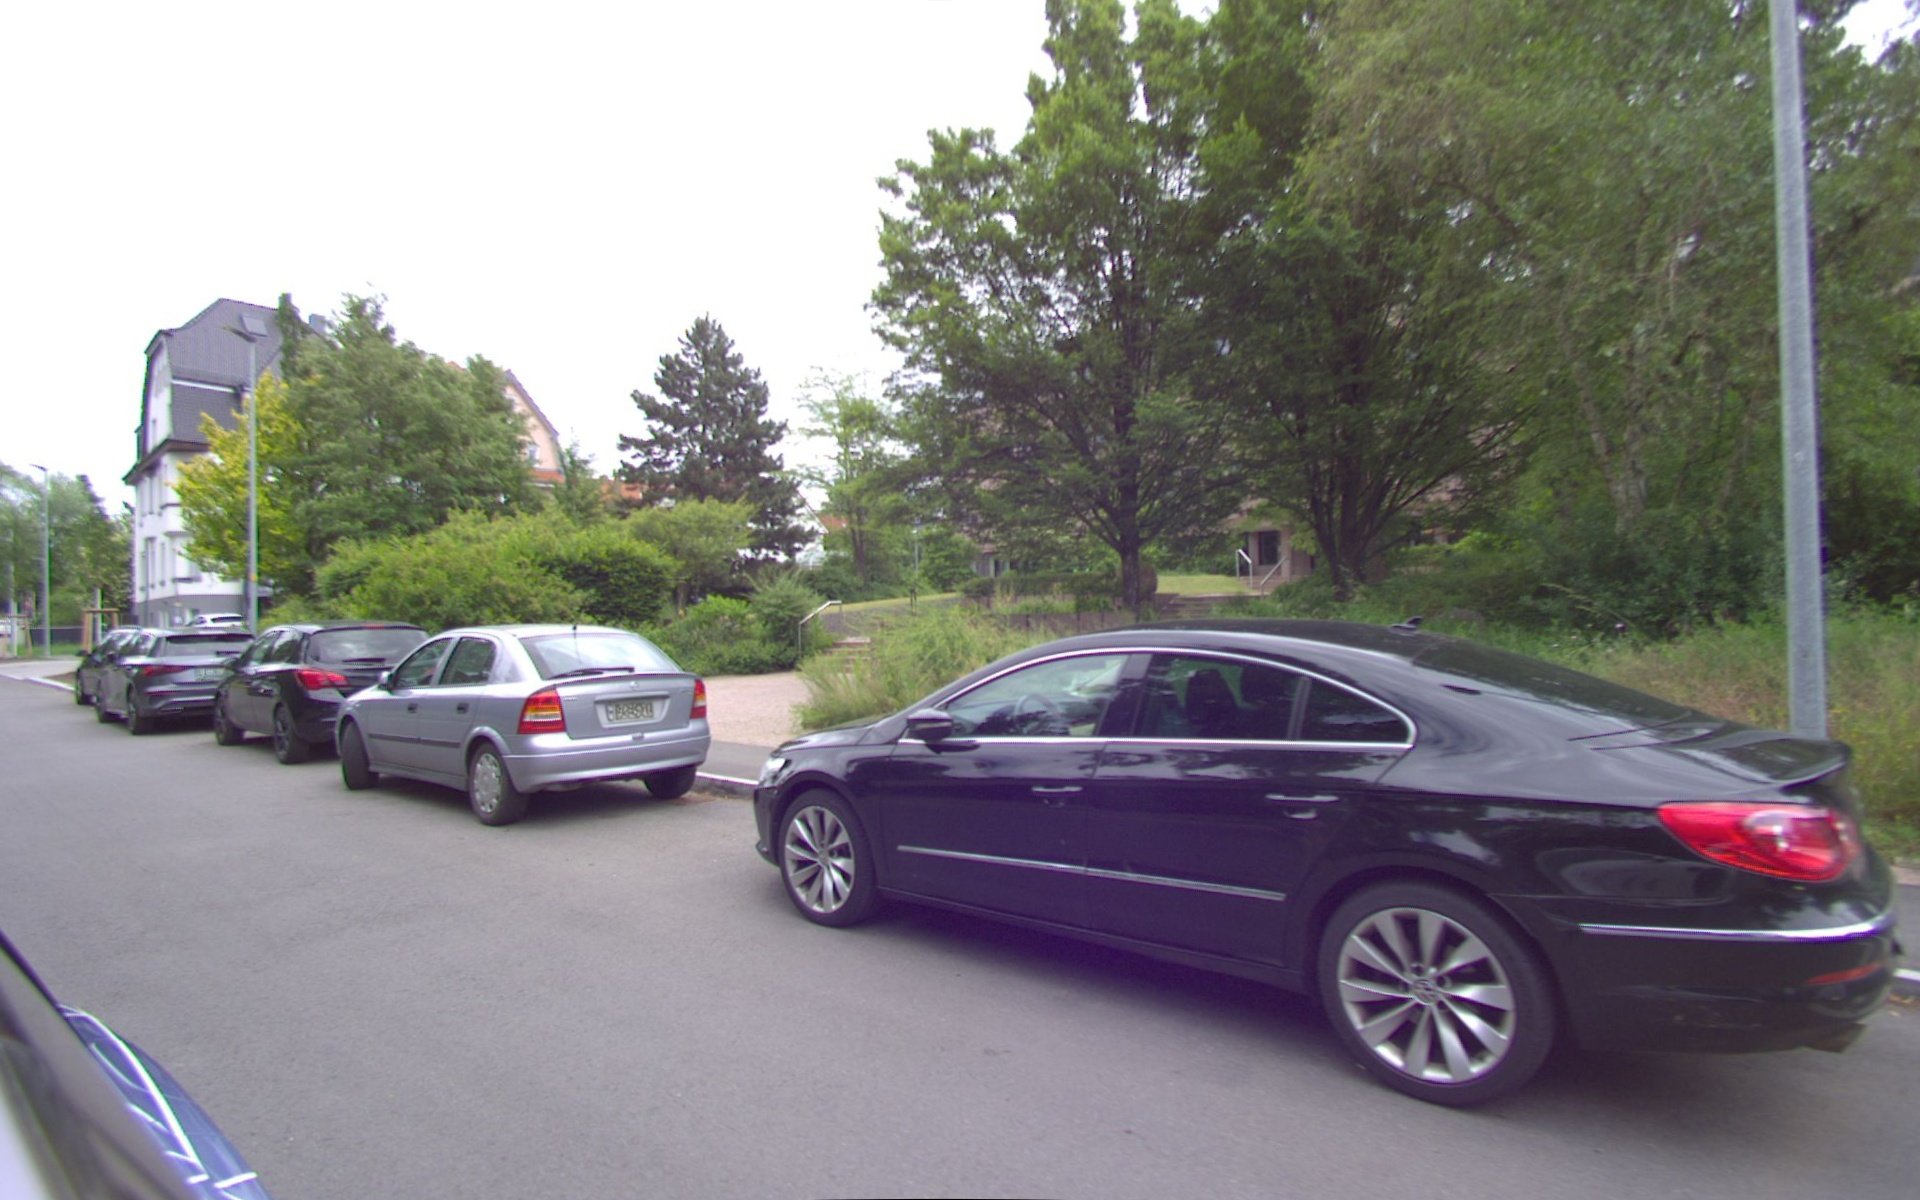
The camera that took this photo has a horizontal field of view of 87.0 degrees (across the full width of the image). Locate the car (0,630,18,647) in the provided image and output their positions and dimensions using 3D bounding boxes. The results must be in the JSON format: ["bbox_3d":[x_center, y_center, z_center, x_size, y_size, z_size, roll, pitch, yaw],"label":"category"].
[{"bbox_3d":[-84.341,3.378,89.096,1.709,1.439,3.465,2,-2,-37],"label":"car"}]

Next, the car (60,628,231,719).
[{"bbox_3d":[-15.146,1.271,18.724,4.690,1.494,1.665,-2,-2,41],"label":"car"}]

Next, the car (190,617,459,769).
[{"bbox_3d":[-7.573,0.982,11.912,3.998,1.494,1.607,-2,-2,41],"label":"car"}]

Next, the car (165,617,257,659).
[{"bbox_3d":[-31.962,1.565,43.163,4.589,1.544,1.888,0,2,37],"label":"car"}]

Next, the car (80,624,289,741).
[{"bbox_3d":[-11.685,1.132,15.134,4.494,1.494,1.688,-2,-2,42],"label":"car"}]

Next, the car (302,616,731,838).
[{"bbox_3d":[-3.945,0.897,8.631,4.348,1.443,1.607,-2,-2,40],"label":"car"}]

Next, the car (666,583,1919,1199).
[{"bbox_3d":[0.952,0.736,4.382,5.101,1.443,1.760,-2,-1,40],"label":"car"}]
